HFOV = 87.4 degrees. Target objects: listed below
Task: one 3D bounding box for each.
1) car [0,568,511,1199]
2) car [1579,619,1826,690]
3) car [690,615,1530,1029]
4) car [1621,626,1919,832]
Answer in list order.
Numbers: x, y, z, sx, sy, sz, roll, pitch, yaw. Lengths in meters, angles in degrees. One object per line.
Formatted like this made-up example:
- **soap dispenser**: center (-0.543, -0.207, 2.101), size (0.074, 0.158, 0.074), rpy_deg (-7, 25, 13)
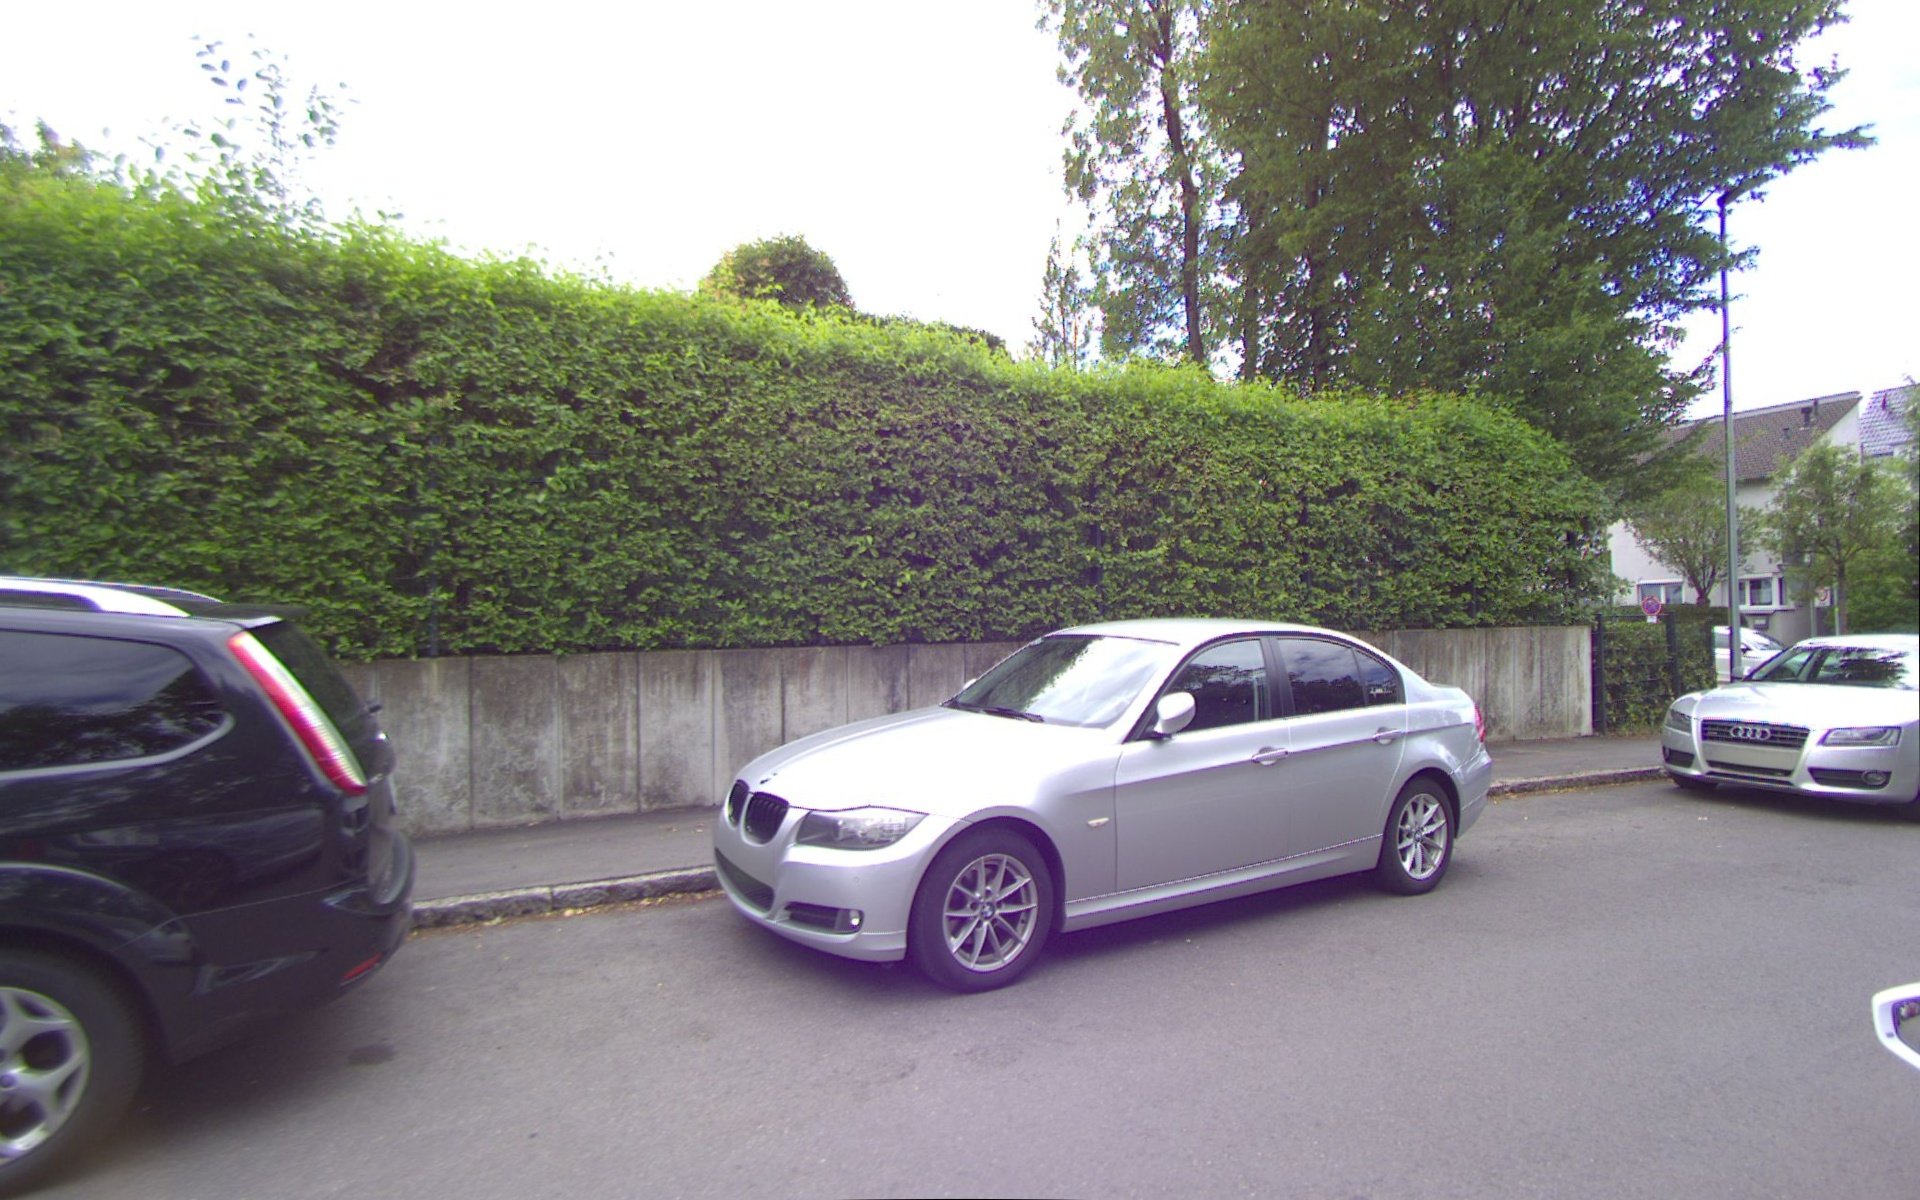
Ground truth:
- **car**: center (-3.641, 0.685, 2.573), size (4.421, 1.554, 1.649), rpy_deg (1, 0, -30)
- **car**: center (19.445, 1.363, 26.605), size (2.010, 1.692, 4.922), rpy_deg (2, -1, -25)
- **car**: center (0.954, 0.800, 5.316), size (4.292, 1.392, 1.765), rpy_deg (1, 0, -32)
- **car**: center (8.023, 0.953, 8.796), size (4.388, 1.392, 1.825), rpy_deg (1, 0, -27)
